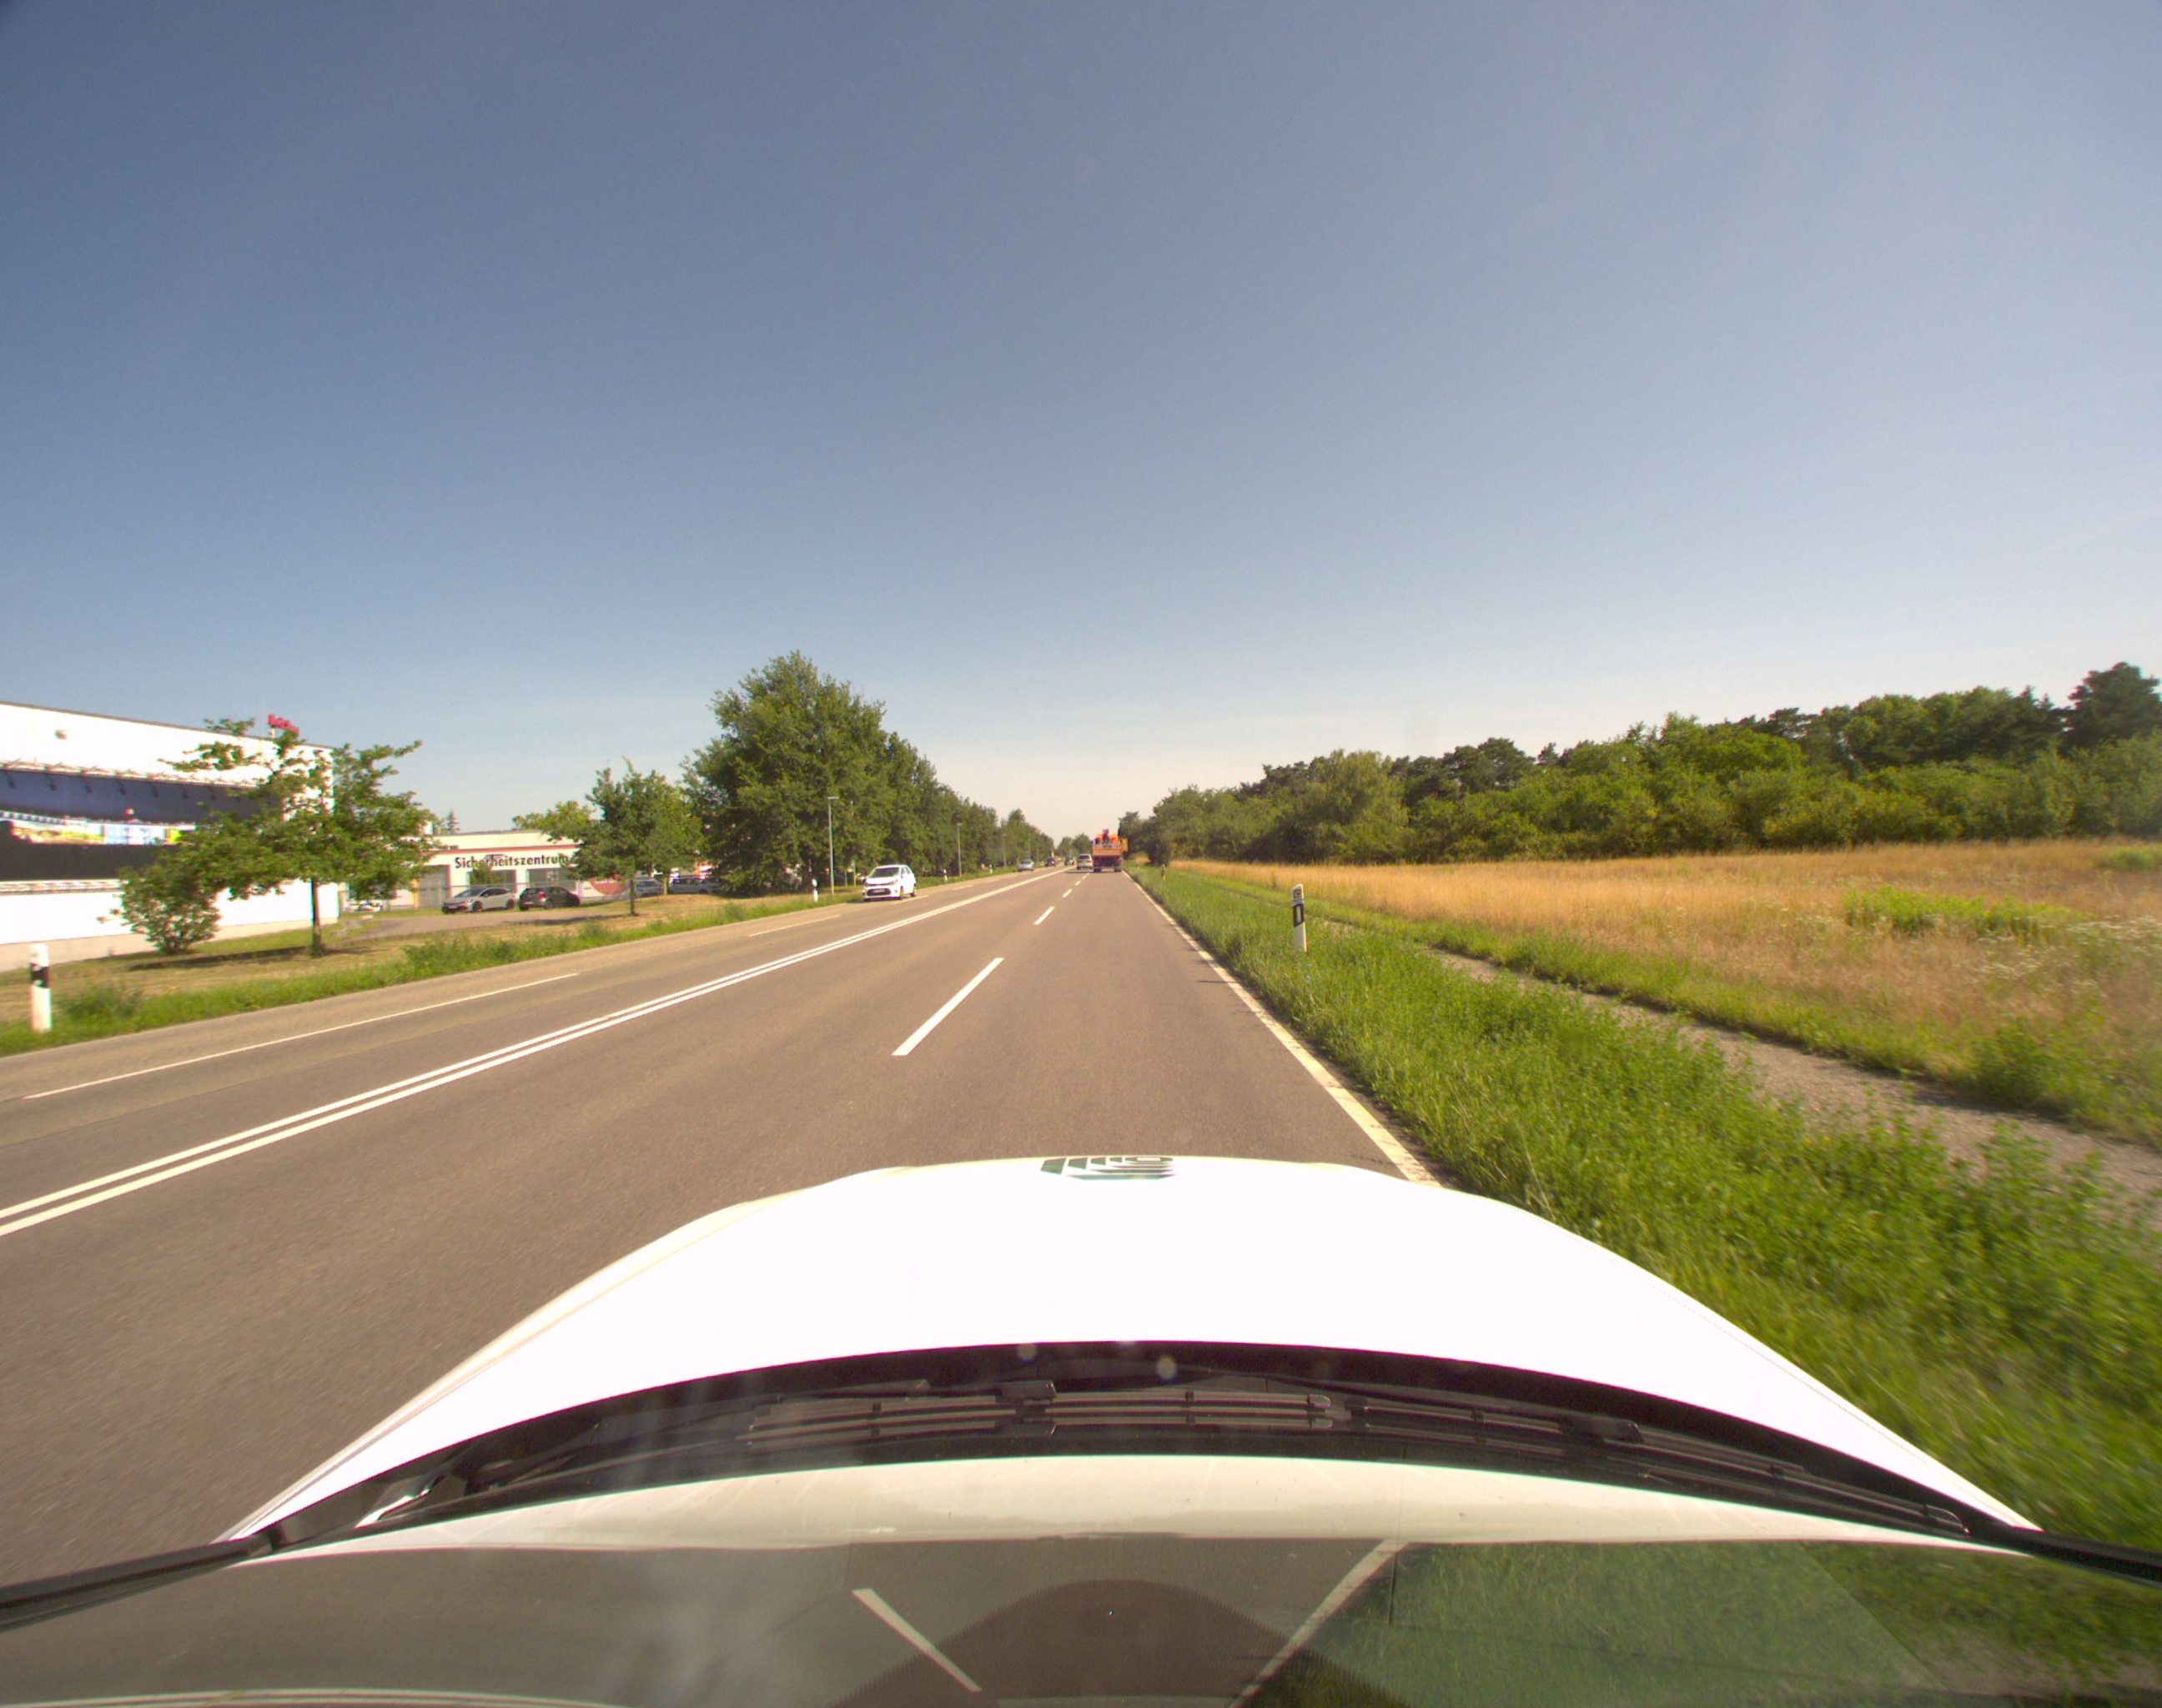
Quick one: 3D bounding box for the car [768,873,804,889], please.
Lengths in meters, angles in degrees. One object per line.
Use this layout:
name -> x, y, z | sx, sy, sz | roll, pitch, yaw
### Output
car -> -28.848, 2.593, 79.744 | 1.782, 1.349, 4.661 | -4, 0, -1

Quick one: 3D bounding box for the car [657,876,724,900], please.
car -> -28.526, 2.464, 59.635 | 3.973, 1.500, 1.758 | -3, 0, 1

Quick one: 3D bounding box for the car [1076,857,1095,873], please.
car -> 0.441, 1.215, 89.756 | 1.987, 1.583, 3.999 | -2, 0, 0

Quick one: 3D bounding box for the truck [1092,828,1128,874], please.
truck -> 2.490, -0.216, 73.080 | 2.863, 3.880, 7.397 | -1, 0, -1

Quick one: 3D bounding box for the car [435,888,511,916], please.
car -> -36.674, 2.884, 49.229 | 1.630, 1.410, 3.723 | -3, 0, 1

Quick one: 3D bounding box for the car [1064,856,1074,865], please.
car -> -2.119, 1.155, 143.230 | 1.511, 1.450, 3.776 | -4, 0, 1

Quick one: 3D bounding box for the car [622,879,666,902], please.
car -> -30.353, 2.528, 56.490 | 1.750, 1.500, 3.951 | -3, 0, -42

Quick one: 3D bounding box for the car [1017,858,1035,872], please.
car -> -6.592, 1.327, 98.023 | 1.592, 1.442, 4.001 | -5, 0, 1

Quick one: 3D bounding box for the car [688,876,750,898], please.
car -> -28.307, 2.570, 63.725 | 3.973, 1.500, 1.758 | -3, 0, 1

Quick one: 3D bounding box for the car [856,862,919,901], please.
car -> -8.275, 1.147, 35.096 | 1.653, 1.437, 3.736 | -4, 0, 1

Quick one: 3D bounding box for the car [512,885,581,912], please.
car -> -32.164, 2.654, 49.127 | 1.630, 1.390, 3.723 | -3, 0, 1

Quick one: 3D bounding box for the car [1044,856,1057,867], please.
car -> -5.311, 1.266, 141.684 | 1.819, 1.671, 4.390 | -4, 0, 1

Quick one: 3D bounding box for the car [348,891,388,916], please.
car -> -49.692, 3.426, 56.824 | 1.473, 1.559, 3.351 | -3, 0, -31
